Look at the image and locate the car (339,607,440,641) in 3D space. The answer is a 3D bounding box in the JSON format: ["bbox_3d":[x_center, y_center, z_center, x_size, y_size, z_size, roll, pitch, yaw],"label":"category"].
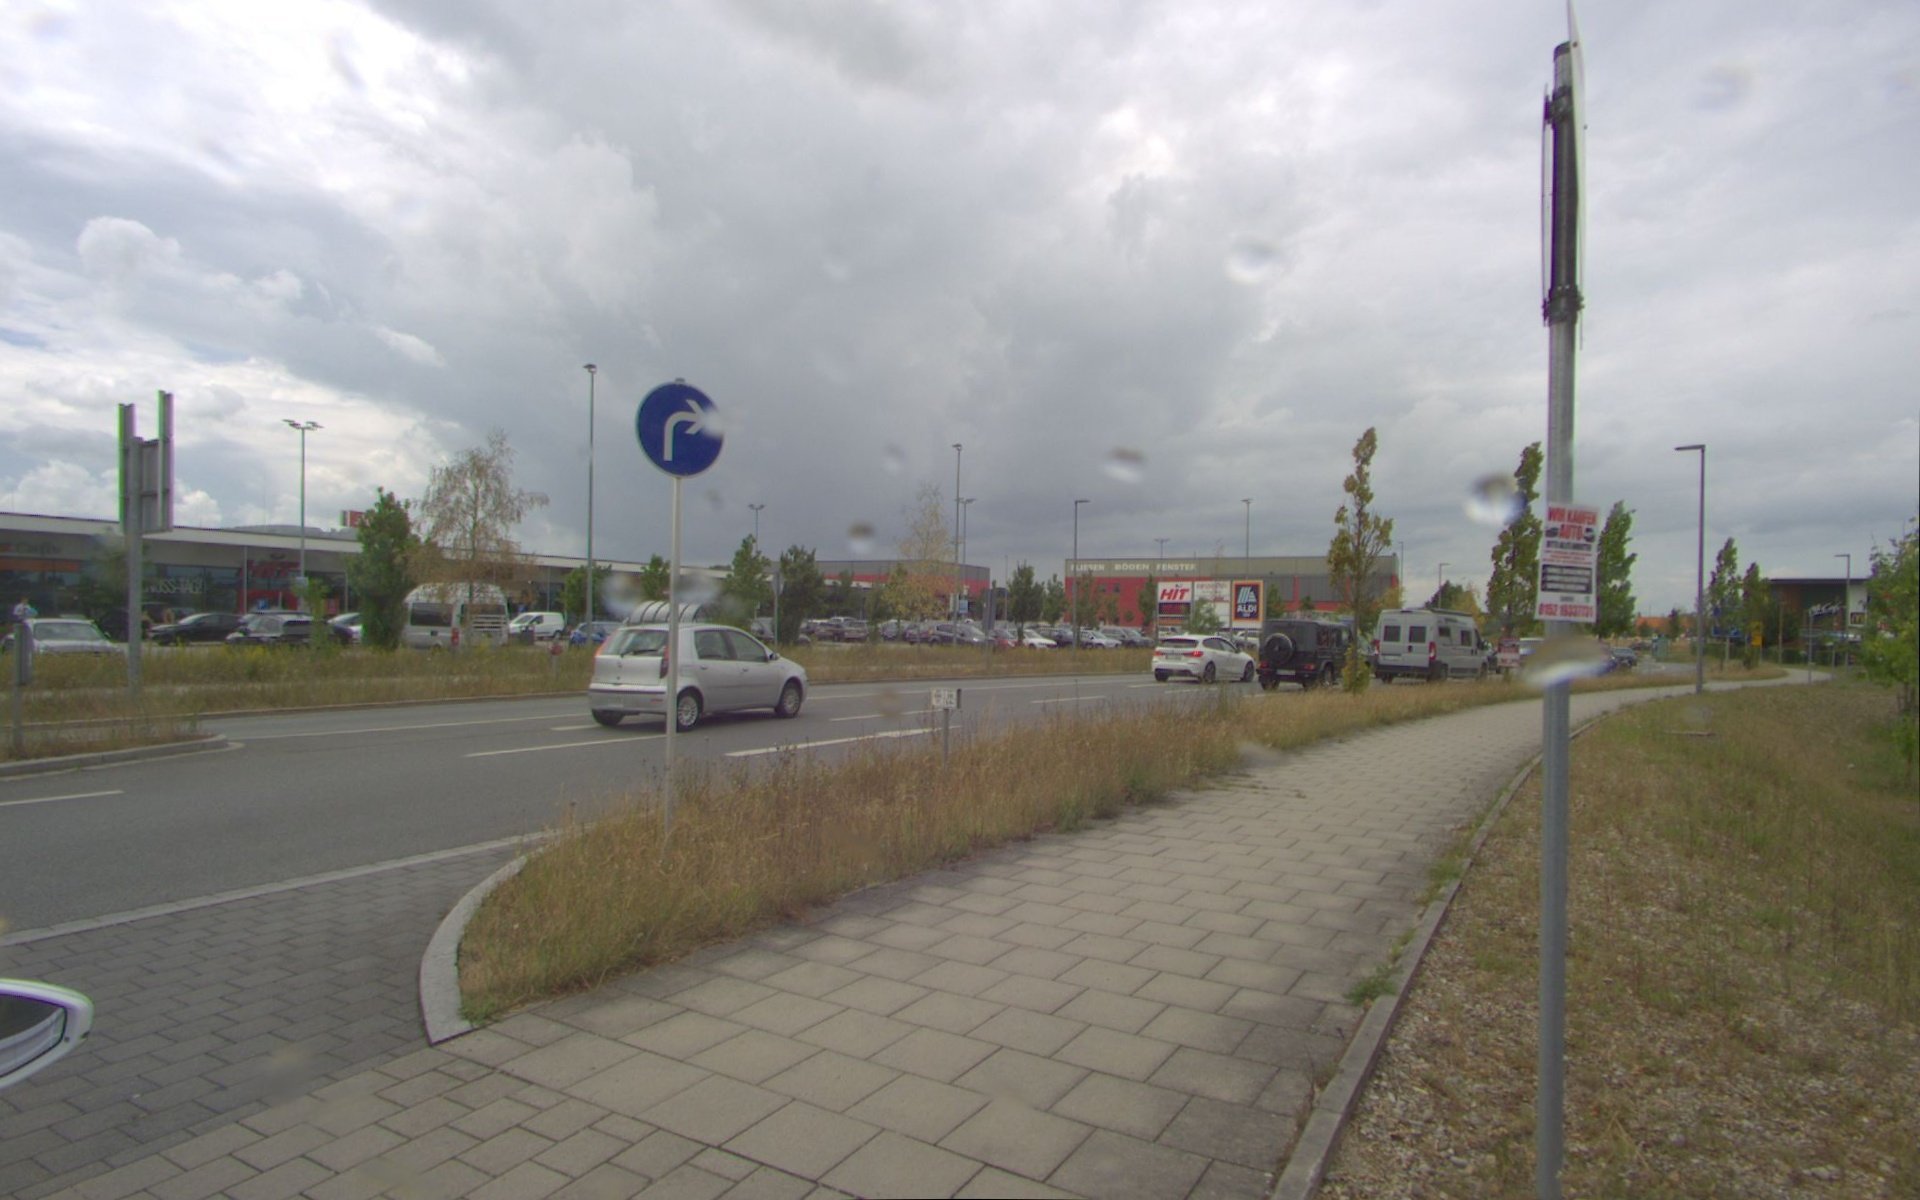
[{"bbox_3d":[-28.698,1.225,50.446,1.973,1.639,3.976,1,-1,35],"label":"car"}]

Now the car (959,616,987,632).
[{"bbox_3d":[1.448,2.565,109.184,1.733,1.675,3.826,1,-1,23],"label":"car"}]

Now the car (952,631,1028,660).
[{"bbox_3d":[1.610,2.452,54.159,3.768,1.408,1.900,1,-1,39],"label":"car"}]

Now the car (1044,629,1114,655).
[{"bbox_3d":[7.175,2.497,60.481,3.768,1.408,1.900,1,-1,39],"label":"car"}]

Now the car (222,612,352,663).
[{"bbox_3d":[-20.766,1.117,30.851,4.094,1.469,1.984,0,-2,35],"label":"car"}]

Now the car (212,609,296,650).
[{"bbox_3d":[-30.833,1.271,43.693,3.946,1.675,1.809,0,-1,36],"label":"car"}]

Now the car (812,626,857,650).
[{"bbox_3d":[-9.183,2.750,73.529,1.731,1.675,3.830,1,-1,18],"label":"car"}]

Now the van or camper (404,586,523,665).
[{"bbox_3d":[-17.065,0.886,34.394,3.953,2.524,2.273,-1,-2,41],"label":"van or camper"}]

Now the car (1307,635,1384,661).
[{"bbox_3d":[22.892,2.838,59.467,3.944,1.394,1.855,1,-1,34],"label":"car"}]

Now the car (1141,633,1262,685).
[{"bbox_3d":[7.509,1.762,30.897,1.781,1.469,4.212,0,-1,43],"label":"car"}]

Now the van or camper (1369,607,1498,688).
[{"bbox_3d":[16.649,1.658,35.035,2.173,2.573,6.112,1,-2,44],"label":"van or camper"}]

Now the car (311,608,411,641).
[{"bbox_3d":[-30.984,1.266,51.887,1.973,1.639,3.976,1,-1,35],"label":"car"}]

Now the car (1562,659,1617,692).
[{"bbox_3d":[29.428,3.486,46.770,1.480,1.403,3.311,-1,-2,45],"label":"car"}]

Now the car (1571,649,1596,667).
[{"bbox_3d":[59.794,5.562,96.032,1.883,1.589,4.311,0,-1,34],"label":"car"}]

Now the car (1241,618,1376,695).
[{"bbox_3d":[9.897,1.566,28.224,1.976,1.948,4.812,1,-2,40],"label":"car"}]

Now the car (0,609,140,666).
[{"bbox_3d":[-23.904,0.975,26.795,4.094,1.402,1.984,0,-2,35],"label":"car"}]

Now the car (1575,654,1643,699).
[{"bbox_3d":[26.414,3.069,40.706,1.668,1.698,3.474,-1,-2,45],"label":"car"}]

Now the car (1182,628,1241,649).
[{"bbox_3d":[18.123,2.795,72.200,3.802,1.446,1.727,-1,-2,44],"label":"car"}]

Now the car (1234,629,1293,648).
[{"bbox_3d":[23.648,2.983,77.997,3.952,1.460,1.986,-1,-2,40],"label":"car"}]

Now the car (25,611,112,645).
[{"bbox_3d":[-43.615,1.349,48.974,3.939,1.527,1.992,1,-1,29],"label":"car"}]

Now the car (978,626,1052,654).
[{"bbox_3d":[3.072,2.210,56.100,3.768,1.408,1.900,1,-1,39],"label":"car"}]

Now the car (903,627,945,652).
[{"bbox_3d":[-2.462,2.719,69.592,1.731,1.675,3.830,1,-1,18],"label":"car"}]

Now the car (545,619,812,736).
[{"bbox_3d":[-4.025,1.042,14.945,1.771,1.480,3.805,1,-1,25],"label":"car"}]

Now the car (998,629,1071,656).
[{"bbox_3d":[4.279,2.408,57.824,3.768,1.408,1.900,1,-1,39],"label":"car"}]

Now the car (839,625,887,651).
[{"bbox_3d":[-6.976,2.703,72.149,1.964,1.756,3.993,1,-1,19],"label":"car"}]

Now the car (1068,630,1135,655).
[{"bbox_3d":[8.853,2.660,62.716,3.768,1.408,1.900,1,-1,39],"label":"car"}]

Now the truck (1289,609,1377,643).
[{"bbox_3d":[33.799,2.369,90.719,8.057,2.984,2.669,1,-1,-26],"label":"truck"}]

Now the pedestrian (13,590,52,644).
[{"bbox_3d":[-36.251,0.663,39.134,0.989,2.040,0.863,1,0,32],"label":"pedestrian"}]

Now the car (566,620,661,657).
[{"bbox_3d":[-14.012,1.548,40.422,4.101,1.402,1.797,-1,-2,40],"label":"car"}]

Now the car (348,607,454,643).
[{"bbox_3d":[-26.860,1.214,48.204,1.973,1.639,3.976,1,-1,35],"label":"car"}]

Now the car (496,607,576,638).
[{"bbox_3d":[-26.360,1.452,62.365,1.967,1.842,4.417,0,-2,24],"label":"car"}]

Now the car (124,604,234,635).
[{"bbox_3d":[-39.992,1.010,51.351,1.969,1.527,3.985,1,-1,28],"label":"car"}]
